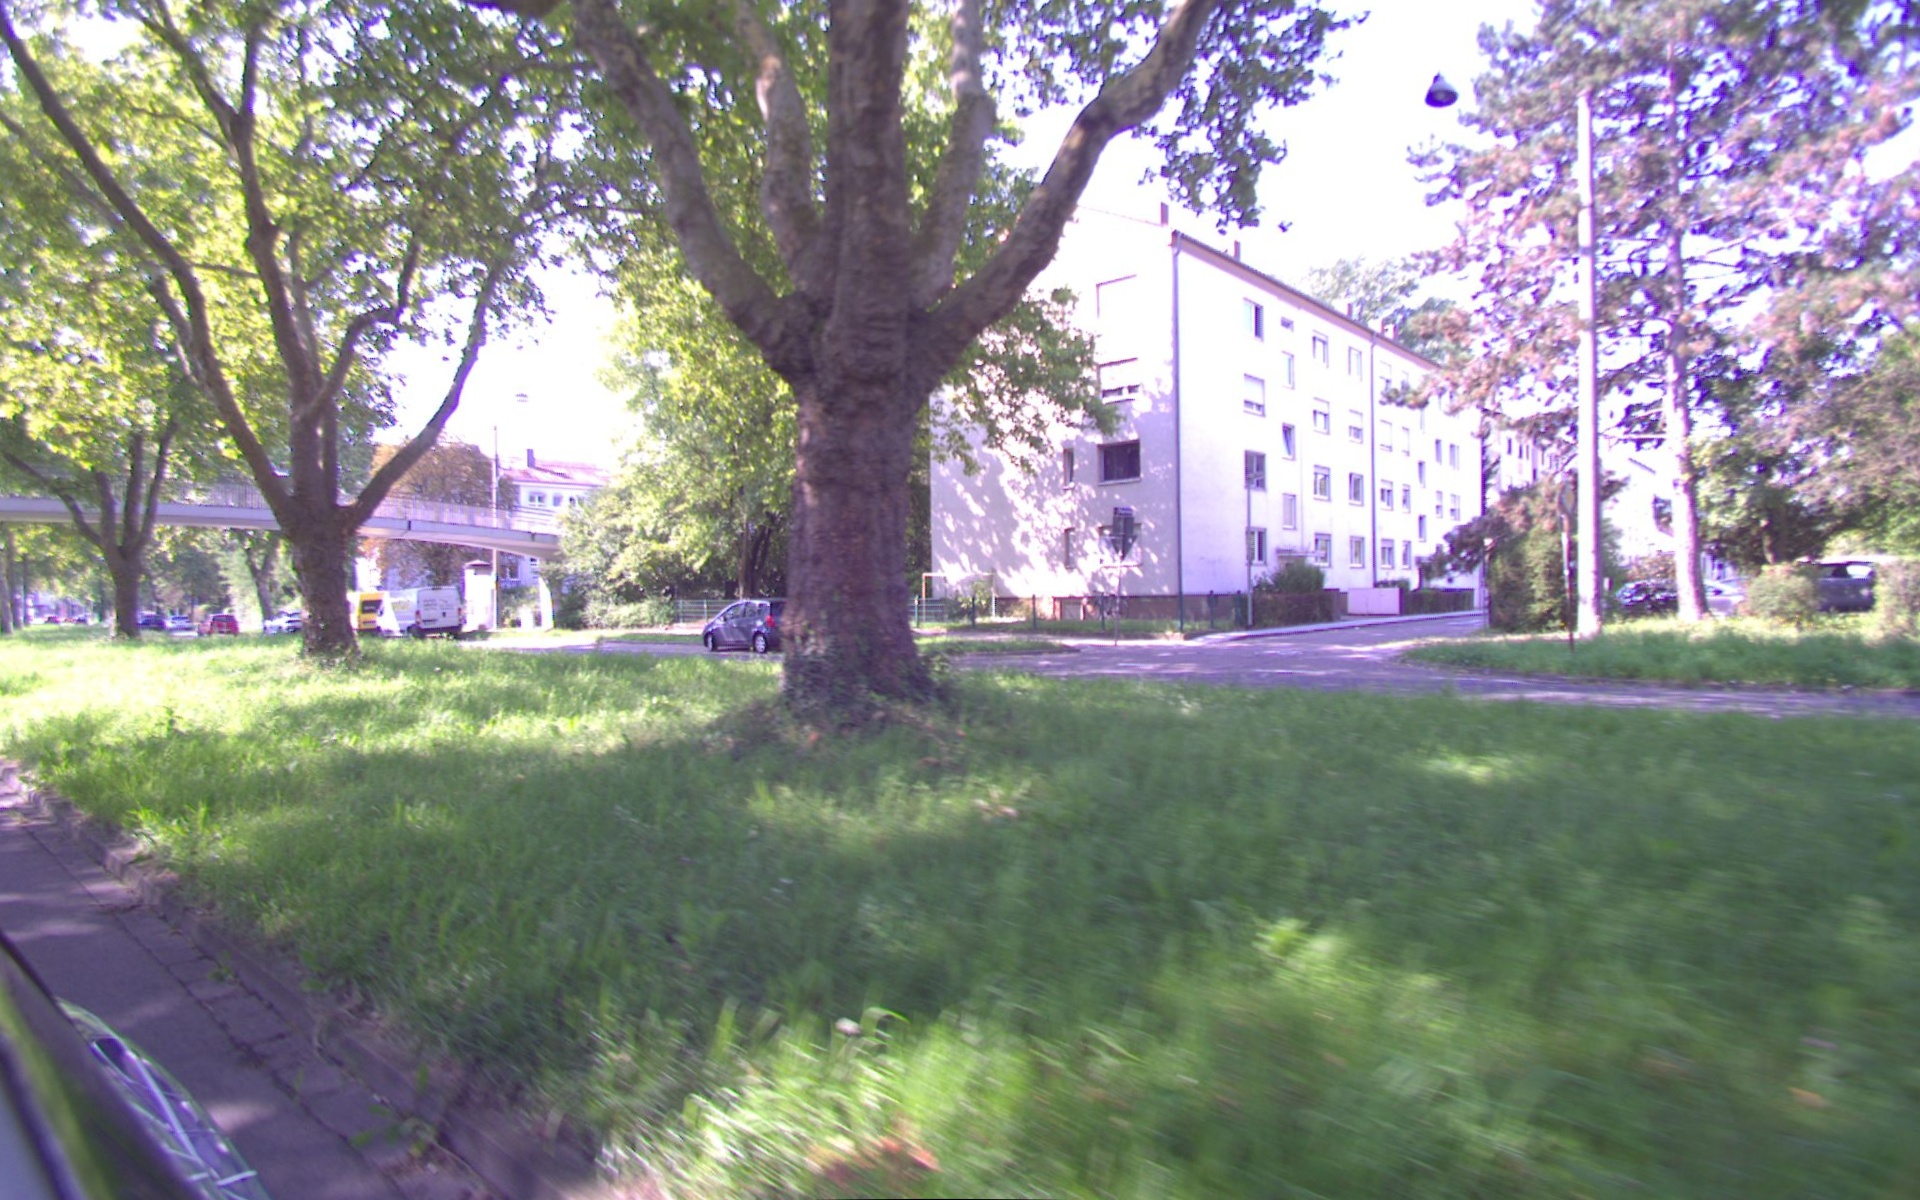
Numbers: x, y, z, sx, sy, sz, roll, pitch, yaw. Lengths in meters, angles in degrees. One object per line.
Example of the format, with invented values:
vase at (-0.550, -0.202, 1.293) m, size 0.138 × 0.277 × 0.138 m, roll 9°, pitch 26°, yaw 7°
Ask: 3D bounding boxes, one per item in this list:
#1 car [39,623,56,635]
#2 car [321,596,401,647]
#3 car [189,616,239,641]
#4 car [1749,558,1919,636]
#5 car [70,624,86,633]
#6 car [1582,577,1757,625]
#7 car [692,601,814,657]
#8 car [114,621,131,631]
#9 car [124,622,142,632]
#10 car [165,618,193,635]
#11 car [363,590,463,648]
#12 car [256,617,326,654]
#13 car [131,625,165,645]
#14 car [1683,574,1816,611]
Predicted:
car at (-144.877, 4.594, 160.719) m, size 1.755 × 1.629 × 4.859 m, roll -2°, pitch 1°, yaw -45°
car at (-31.815, 1.089, 53.624) m, size 2.183 × 2.498 × 6.064 m, roll -2°, pitch 1°, yaw -45°
car at (-48.123, 1.824, 65.250) m, size 4.066 × 1.544 × 1.674 m, roll -1°, pitch 0°, yaw 40°
car at (23.295, -0.087, 26.247) m, size 1.823 × 1.915 × 4.267 m, roll -2°, pitch 1°, yaw -45°
car at (-139.575, 4.553, 160.122) m, size 3.900 × 1.375 × 1.627 m, roll -2°, pitch 0°, yaw 44°
car at (23.179, 0.034, 33.162) m, size 1.823 × 1.482 × 4.452 m, roll -2°, pitch 1°, yaw -45°
car at (-6.184, 0.807, 29.974) m, size 3.861 × 1.544 × 1.507 m, roll 0°, pitch 0°, yaw 41°
car at (-116.137, 3.606, 140.317) m, size 1.590 × 1.301 × 3.526 m, roll -2°, pitch 1°, yaw -43°
car at (-107.972, 3.509, 132.091) m, size 1.590 × 1.301 × 3.526 m, roll -2°, pitch 1°, yaw -43°
car at (-74.376, 2.499, 96.316) m, size 1.626 × 1.490 × 3.901 m, roll -2°, pitch 1°, yaw -45°
car at (-25.989, 0.879, 47.964) m, size 6.265 × 2.448 × 2.184 m, roll -1°, pitch 3°, yaw 43°
car at (-33.422, 1.731, 50.514) m, size 4.718 × 1.733 × 1.783 m, roll -2°, pitch -1°, yaw 42°
car at (-71.443, 3.068, 89.042) m, size 4.457 × 1.544 × 1.767 m, roll -1°, pitch 1°, yaw 44°
car at (30.591, -0.286, 39.273) m, size 3.999 × 1.342 × 1.631 m, roll -1°, pitch 1°, yaw 42°
